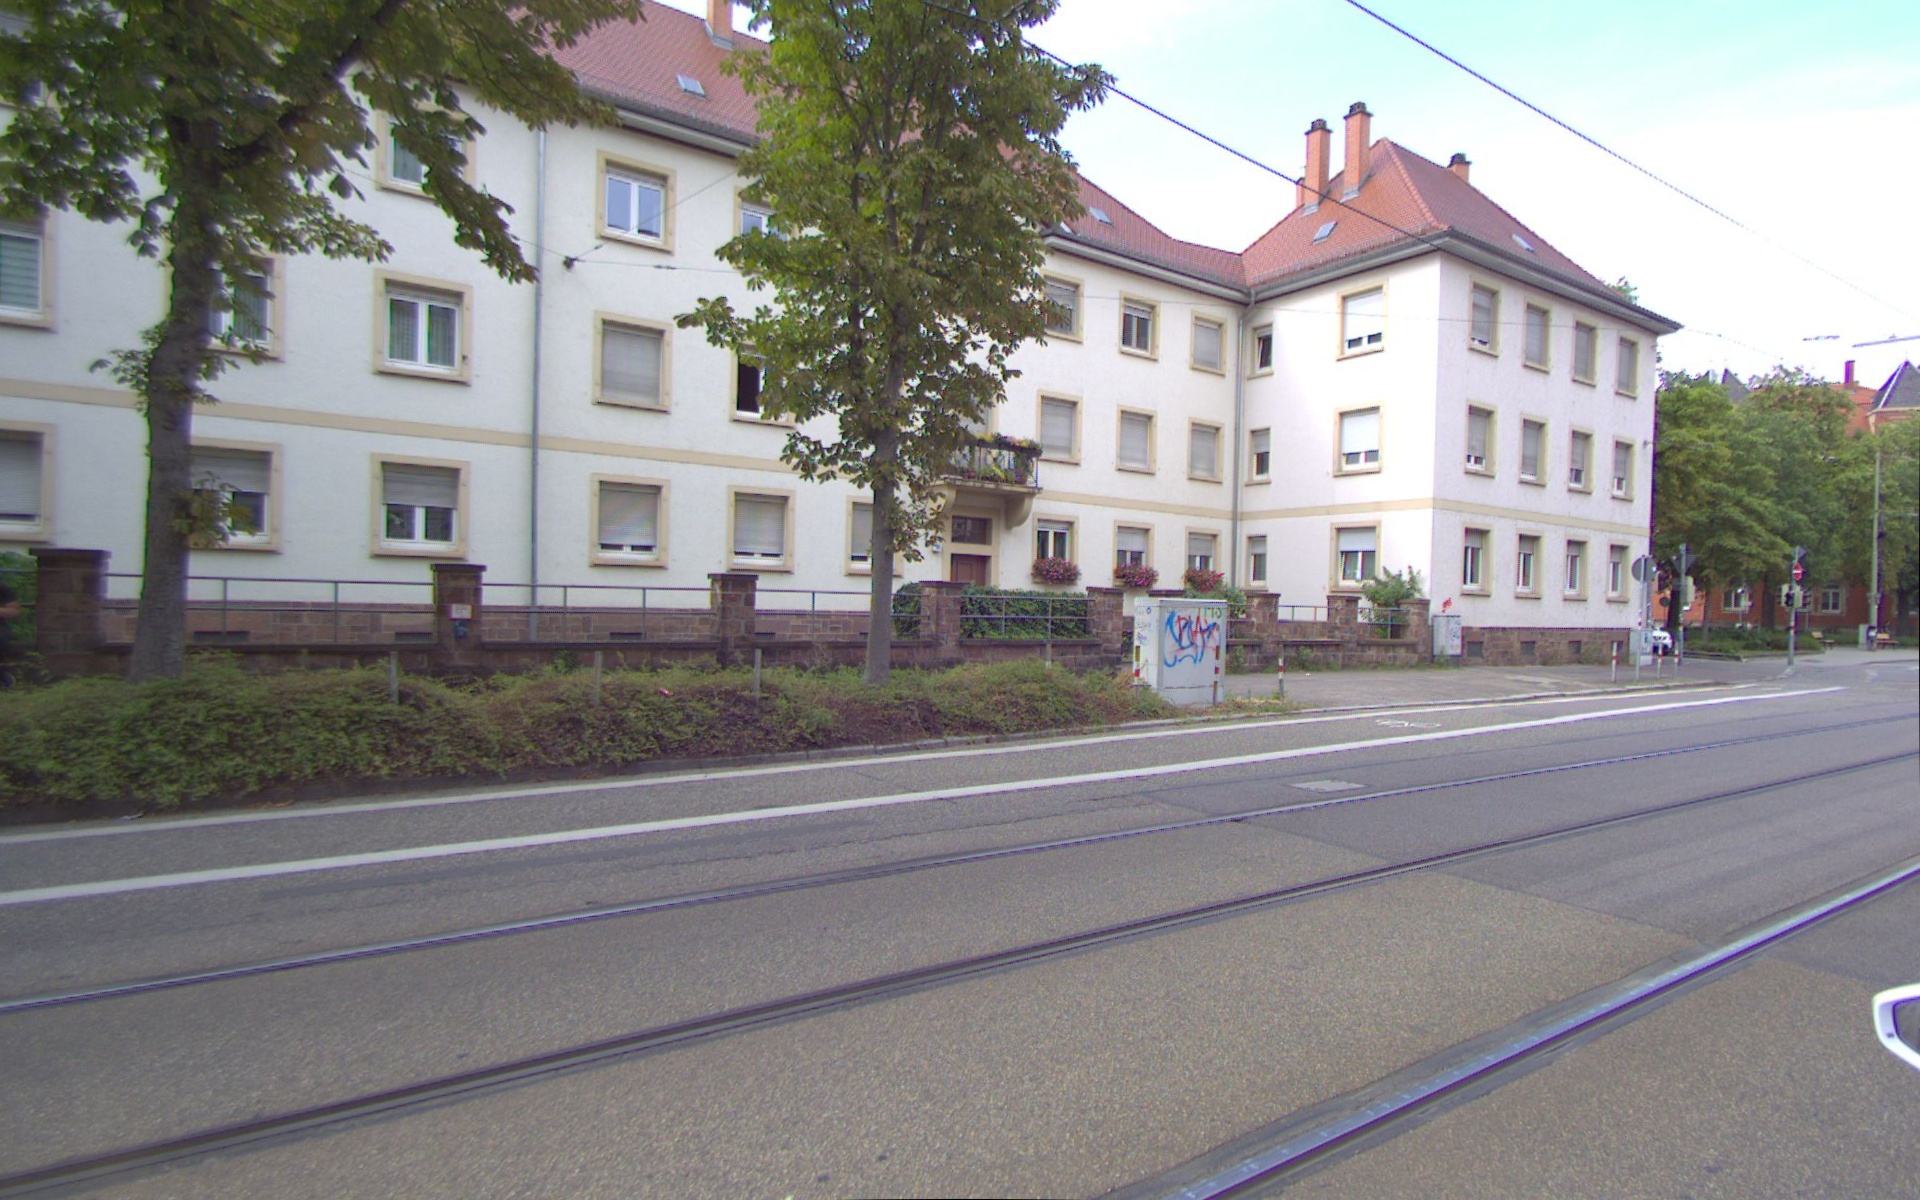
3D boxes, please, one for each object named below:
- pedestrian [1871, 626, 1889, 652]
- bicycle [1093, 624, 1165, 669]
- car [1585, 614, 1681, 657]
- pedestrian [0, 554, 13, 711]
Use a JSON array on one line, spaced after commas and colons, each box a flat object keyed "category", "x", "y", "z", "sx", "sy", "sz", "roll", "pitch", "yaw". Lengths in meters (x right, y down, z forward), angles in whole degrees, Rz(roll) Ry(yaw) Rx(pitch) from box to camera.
[{"category": "pedestrian", "x": 64.036, "y": 2.714, "z": 69.925, "sx": 0.726, "sy": 1.725, "sz": 0.826, "roll": 1, "pitch": 0, "yaw": -39}, {"category": "bicycle", "x": 3.671, "y": 0.992, "z": 21.722, "sx": 1.654, "sy": 0.927, "sz": 0.475, "roll": 1, "pitch": 0, "yaw": -34}, {"category": "car", "x": 29.895, "y": 1.575, "z": 44.748, "sx": 1.804, "sy": 1.743, "sz": 4.162, "roll": 3, "pitch": -2, "yaw": 6}, {"category": "pedestrian", "x": -9.644, "y": 0.299, "z": 9.638, "sx": 0.726, "sy": 1.484, "sz": 0.826, "roll": 1, "pitch": 0, "yaw": -39}]
